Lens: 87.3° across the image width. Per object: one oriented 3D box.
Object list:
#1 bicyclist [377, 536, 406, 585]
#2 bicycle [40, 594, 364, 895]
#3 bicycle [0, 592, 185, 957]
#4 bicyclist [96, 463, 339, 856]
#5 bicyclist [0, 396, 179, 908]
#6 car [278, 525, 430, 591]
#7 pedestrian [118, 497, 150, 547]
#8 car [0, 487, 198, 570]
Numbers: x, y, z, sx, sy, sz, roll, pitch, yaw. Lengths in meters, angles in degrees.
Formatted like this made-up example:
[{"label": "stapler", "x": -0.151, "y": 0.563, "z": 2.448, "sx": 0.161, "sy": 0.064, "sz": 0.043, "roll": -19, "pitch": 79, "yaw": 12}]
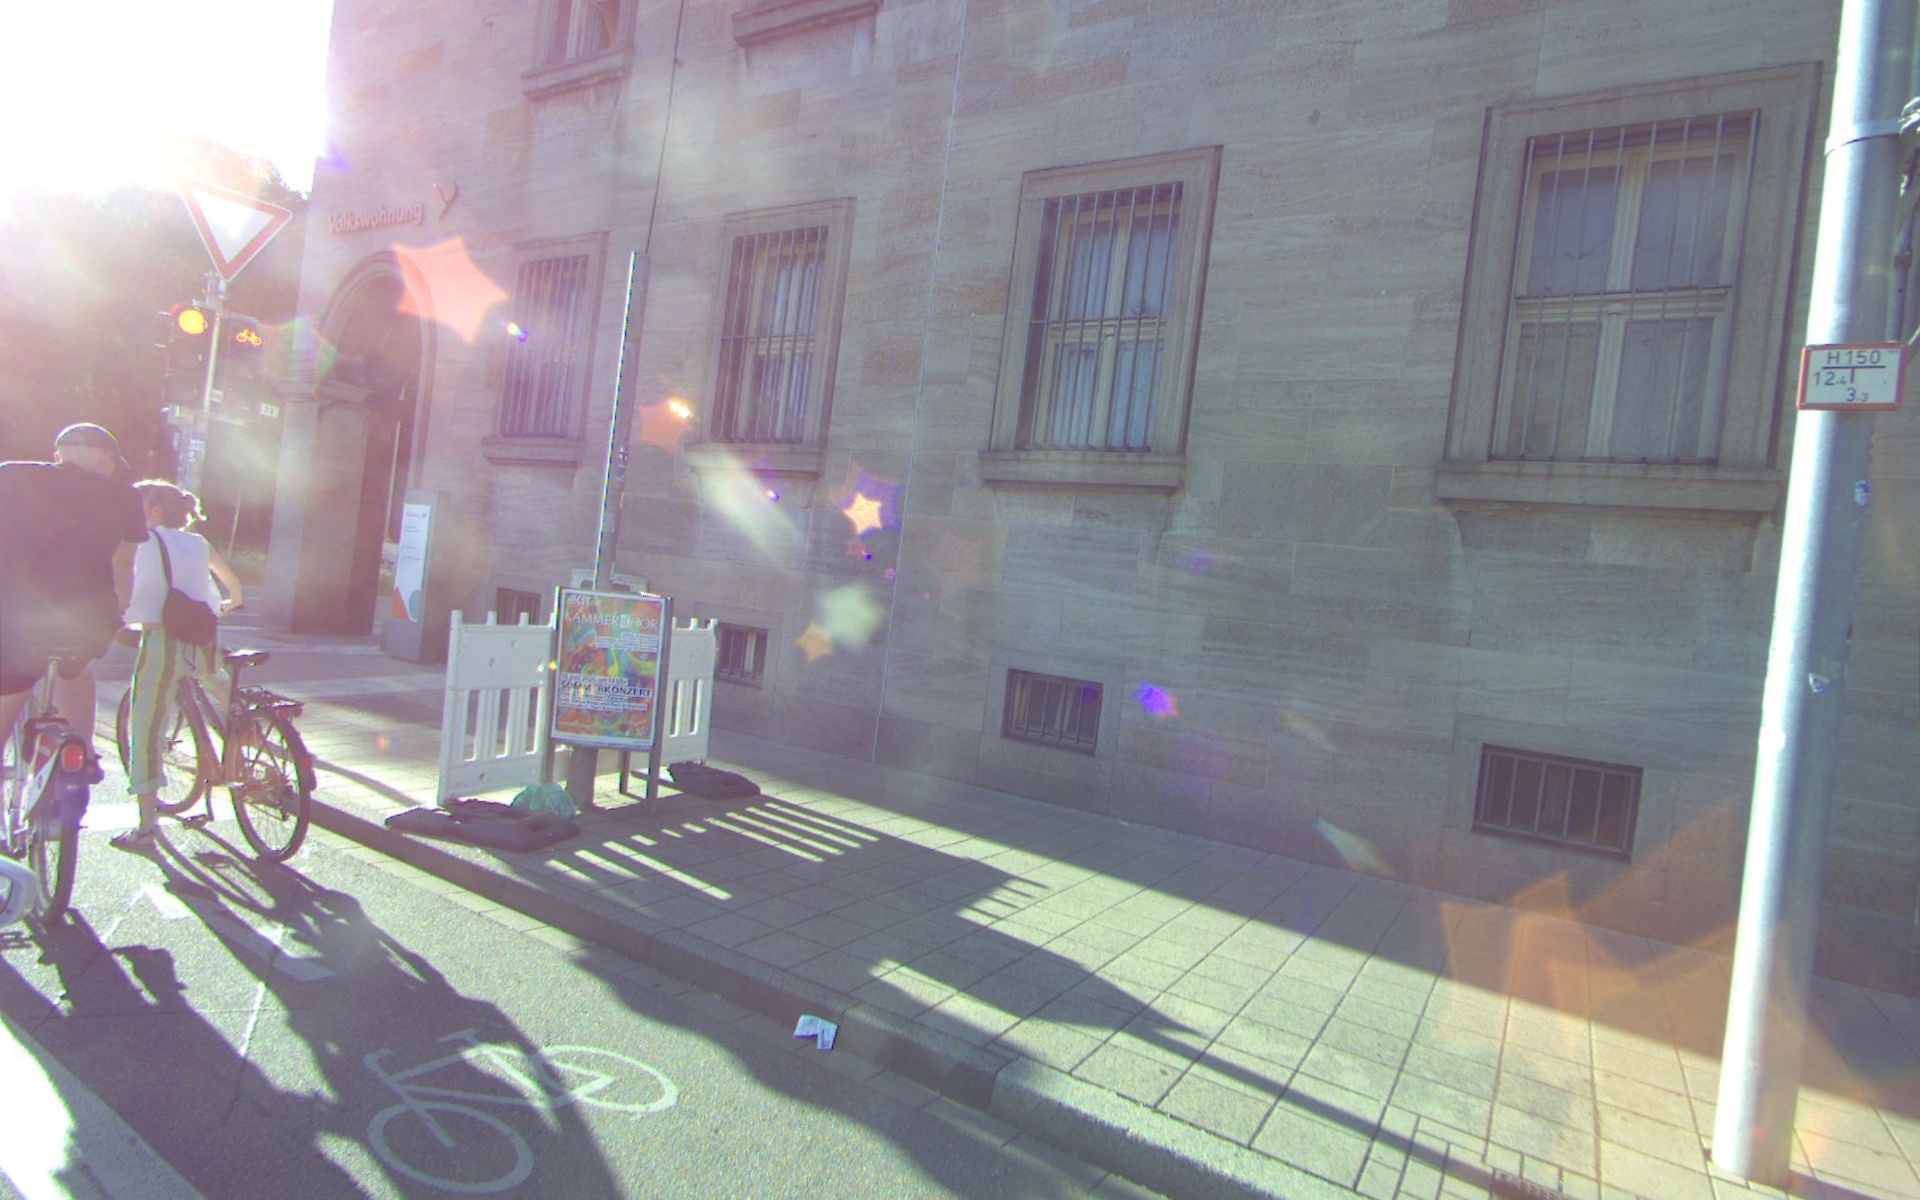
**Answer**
[{"label": "bicyclist", "x": -20.947, "y": -1.450, "z": 37.070, "sx": 0.499, "sy": 1.704, "sz": 0.643, "roll": 7, "pitch": 0, "yaw": 37}, {"label": "bicycle", "x": -3.681, "y": 0.621, "z": 4.841, "sx": 1.721, "sy": 1.090, "sz": 0.535, "roll": 7, "pitch": -1, "yaw": 31}, {"label": "bicycle", "x": -3.737, "y": 0.574, "z": 3.924, "sx": 1.700, "sy": 1.090, "sz": 0.516, "roll": 7, "pitch": -1, "yaw": 34}, {"label": "bicyclist", "x": -3.534, "y": 0.266, "z": 4.803, "sx": 0.629, "sy": 1.711, "sz": 0.558, "roll": 7, "pitch": -1, "yaw": 30}, {"label": "bicyclist", "x": -3.548, "y": 0.193, "z": 3.853, "sx": 0.541, "sy": 1.820, "sz": 0.559, "roll": 7, "pitch": -1, "yaw": 33}, {"label": "car", "x": -19.805, "y": -1.338, "z": 33.051, "sx": 1.623, "sy": 1.630, "sz": 3.854, "roll": 7, "pitch": -1, "yaw": 31}, {"label": "pedestrian", "x": -29.923, "y": -2.813, "z": 36.449, "sx": 0.506, "sy": 1.683, "sz": 0.583, "roll": 8, "pitch": 0, "yaw": 34}, {"label": "car", "x": -23.371, "y": -1.891, "z": 27.195, "sx": 1.623, "sy": 1.630, "sz": 3.999, "roll": 7, "pitch": -1, "yaw": 31}]
